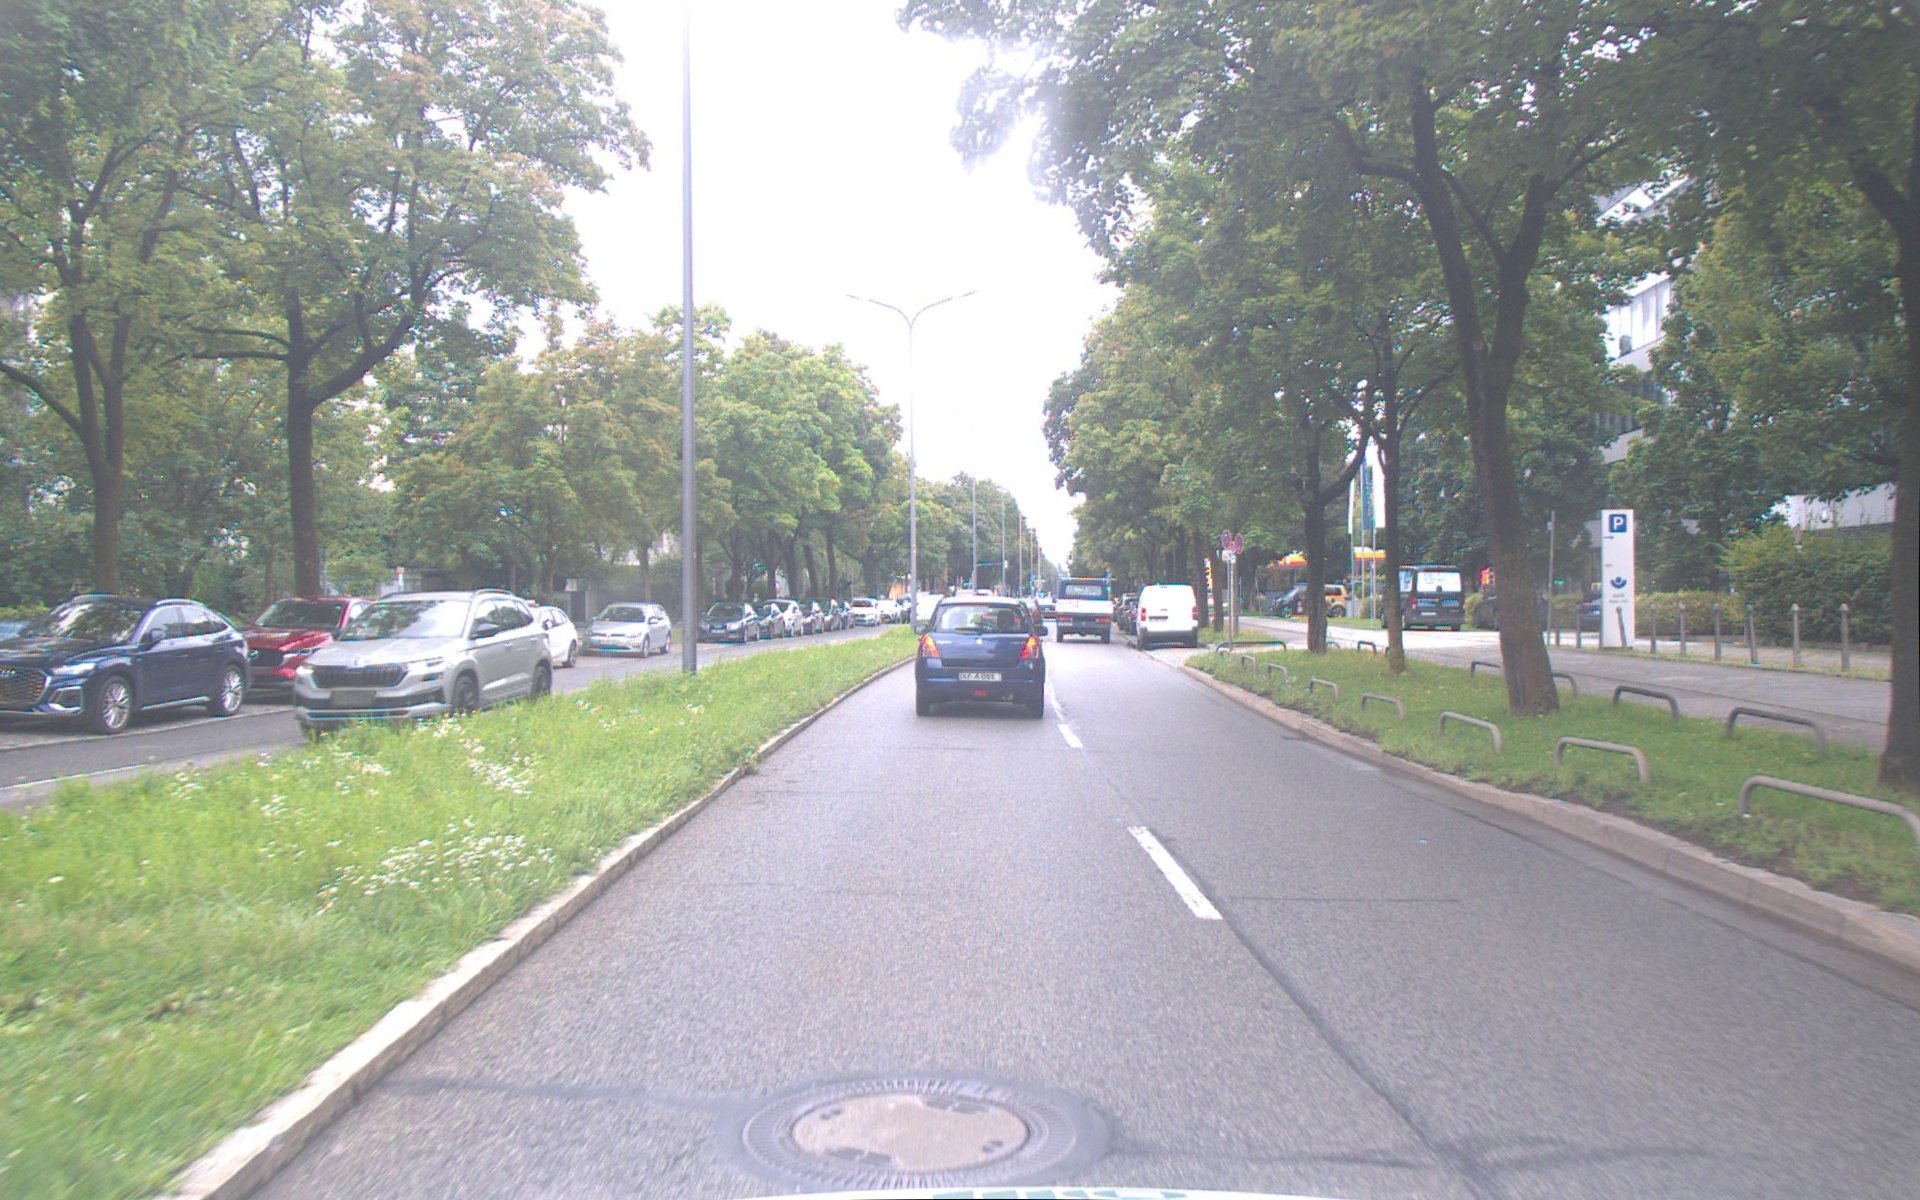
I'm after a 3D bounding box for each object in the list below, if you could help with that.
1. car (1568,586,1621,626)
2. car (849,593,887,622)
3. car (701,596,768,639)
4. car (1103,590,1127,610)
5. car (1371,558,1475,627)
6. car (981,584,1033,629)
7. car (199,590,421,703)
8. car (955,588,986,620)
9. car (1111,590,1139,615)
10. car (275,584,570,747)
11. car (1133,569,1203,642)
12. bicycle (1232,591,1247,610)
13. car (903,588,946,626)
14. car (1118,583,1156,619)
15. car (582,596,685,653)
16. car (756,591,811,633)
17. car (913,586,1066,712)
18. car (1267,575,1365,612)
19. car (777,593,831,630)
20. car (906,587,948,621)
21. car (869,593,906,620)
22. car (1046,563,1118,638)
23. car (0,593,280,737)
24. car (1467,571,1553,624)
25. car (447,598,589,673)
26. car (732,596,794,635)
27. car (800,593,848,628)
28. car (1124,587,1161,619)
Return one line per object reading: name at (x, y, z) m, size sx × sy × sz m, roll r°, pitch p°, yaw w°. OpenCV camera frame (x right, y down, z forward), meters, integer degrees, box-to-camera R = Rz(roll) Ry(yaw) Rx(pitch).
car at (22.820, 0.196, 59.413) m, size 1.746 × 1.398 × 3.964 m, roll 0°, pitch 0°, yaw 22°
car at (-5.446, 0.413, 98.161) m, size 1.720 × 1.622 × 4.491 m, roll 2°, pitch 0°, yaw 3°
car at (-8.229, 0.620, 60.632) m, size 1.547 × 1.448 × 4.365 m, roll 2°, pitch 0°, yaw 3°
car at (12.286, -0.006, 131.297) m, size 1.724 × 1.479 × 4.635 m, roll -2°, pitch 0°, yaw 4°
car at (16.825, -0.288, 60.468) m, size 2.217 × 2.347 × 6.270 m, roll -1°, pitch 0°, yaw 2°
car at (1.643, 0.206, 58.371) m, size 1.762 × 1.525 × 3.661 m, roll -1°, pitch 0°, yaw 1°
car at (-10.710, 0.700, 27.652) m, size 1.703 × 1.680 × 4.608 m, roll 2°, pitch 0°, yaw 2°
car at (0.722, 0.258, 110.414) m, size 1.743 × 2.065 × 4.820 m, roll -1°, pitch 0°, yaw 4°
car at (10.812, 0.160, 108.198) m, size 1.742 × 1.537 × 4.288 m, roll -2°, pitch 0°, yaw 6°
car at (-6.099, 0.667, 19.355) m, size 1.729 × 1.653 × 4.379 m, roll -1°, pitch 0°, yaw 4°
car at (6.699, 0.162, 53.704) m, size 1.945 × 2.195 × 5.558 m, roll -1°, pitch 0°, yaw 4°
bicycle at (18.082, 0.038, 107.132) m, size 0.732 × 1.203 × 2.248 m, roll -1°, pitch 0°, yaw 4°
car at (-2.209, 0.387, 104.185) m, size 2.163 × 2.232 × 5.802 m, roll -2°, pitch 0°, yaw 4°
car at (8.859, 0.054, 82.814) m, size 1.774 × 1.705 × 4.803 m, roll -1°, pitch 0°, yaw 6°
car at (-9.324, 0.662, 47.634) m, size 1.700 × 1.473 × 4.825 m, roll 2°, pitch 0°, yaw 4°
car at (-7.535, 0.487, 70.813) m, size 1.591 × 1.676 × 3.870 m, roll 2°, pitch 0°, yaw 5°
car at (0.394, 0.594, 22.126) m, size 1.857 × 1.525 × 3.660 m, roll 1°, pitch 0°, yaw 1°
car at (20.728, -0.376, 96.489) m, size 5.355 × 2.120 × 2.148 m, roll -1°, pitch 0°, yaw 3°
car at (-7.134, 0.509, 76.013) m, size 1.680 × 1.551 × 5.037 m, roll 2°, pitch 1°, yaw 3°
car at (-1.663, 0.182, 84.662) m, size 1.795 × 1.671 × 4.353 m, roll -1°, pitch 0°, yaw 4°
car at (-4.713, 0.392, 108.331) m, size 1.793 × 1.637 × 4.494 m, roll 2°, pitch 0°, yaw 5°
car at (4.360, -0.003, 58.353) m, size 2.367 × 2.487 × 5.090 m, roll 1°, pitch 0°, yaw 6°
car at (-11.046, 0.760, 22.059) m, size 1.702 × 1.672 × 4.687 m, roll 1°, pitch 0°, yaw 4°
car at (20.160, -0.095, 60.824) m, size 1.803 × 1.850 × 4.473 m, roll -1°, pitch 0°, yaw 2°
car at (-9.969, 0.762, 37.663) m, size 1.702 × 1.556 × 4.478 m, roll 1°, pitch 0°, yaw 4°
car at (-7.861, 0.590, 66.348) m, size 1.591 × 1.448 × 4.194 m, roll 2°, pitch 0°, yaw 5°
car at (-6.691, 0.475, 81.590) m, size 1.650 × 1.625 × 4.213 m, roll 2°, pitch 0°, yaw 5°
car at (8.583, 0.126, 77.584) m, size 1.665 × 1.433 × 4.516 m, roll -1°, pitch 0°, yaw 7°
